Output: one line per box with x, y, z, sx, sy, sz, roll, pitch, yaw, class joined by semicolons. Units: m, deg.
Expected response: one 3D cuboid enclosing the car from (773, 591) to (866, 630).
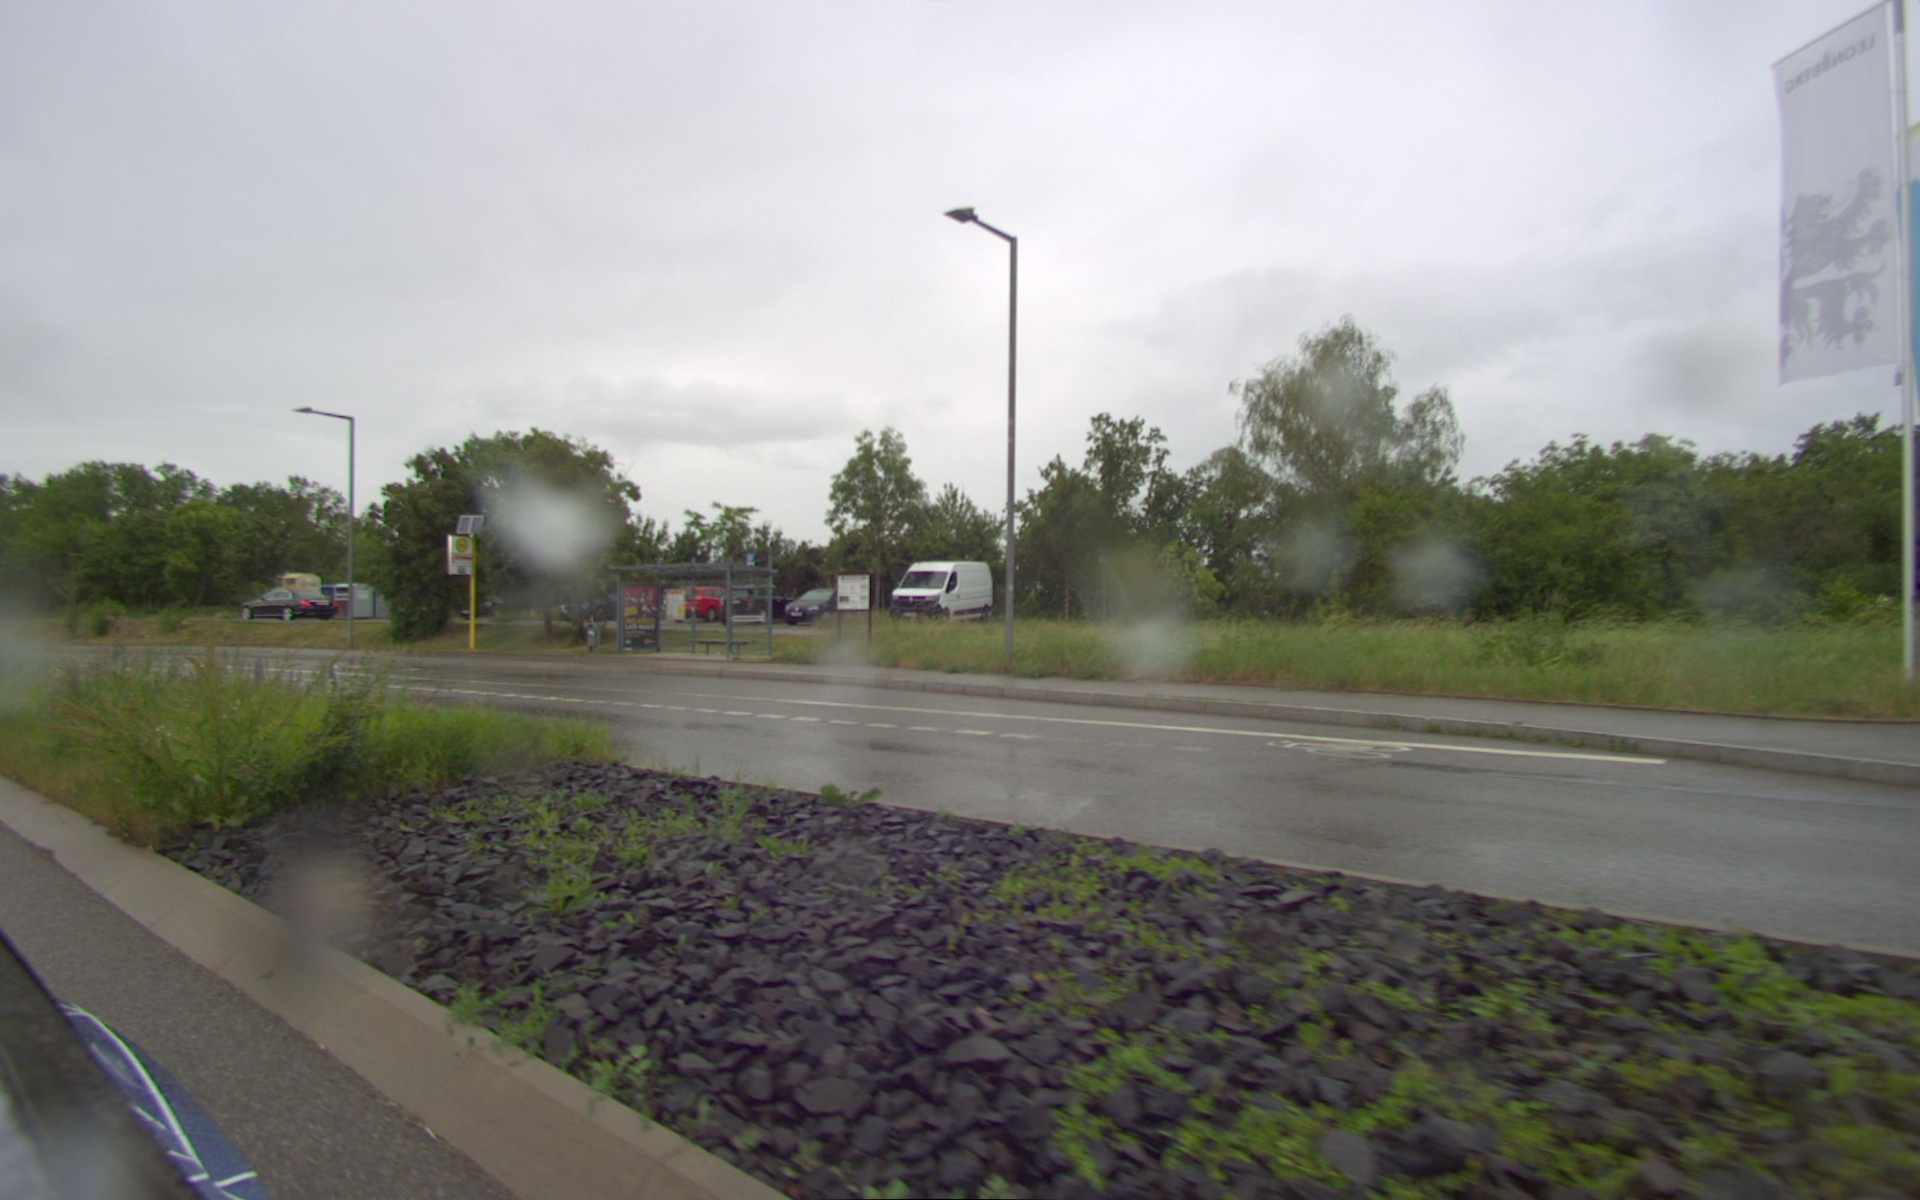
-5.465;0.386;39.870;1.645;1.374;3.963;-1;2;27;car

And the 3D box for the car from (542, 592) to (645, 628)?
-15.958;0.397;44.237;1.891;1.374;3.963;-1;2;28;car

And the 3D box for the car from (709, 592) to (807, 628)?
-8.082;0.416;40.750;1.839;1.374;3.963;-1;-1;27;car

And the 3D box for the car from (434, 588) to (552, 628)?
-21.140;0.317;46.023;1.994;1.706;4.681;-1;1;25;car

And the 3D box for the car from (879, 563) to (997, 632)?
-0.696;-0.139;38.565;2.124;2.415;6.529;1;1;22;car

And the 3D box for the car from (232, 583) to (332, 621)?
-30.983;0.101;46.221;4.516;1.580;1.683;-2;1;25;car

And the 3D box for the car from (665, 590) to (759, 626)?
-10.538;0.360;43.216;1.838;1.480;3.965;-1;-1;26;car
